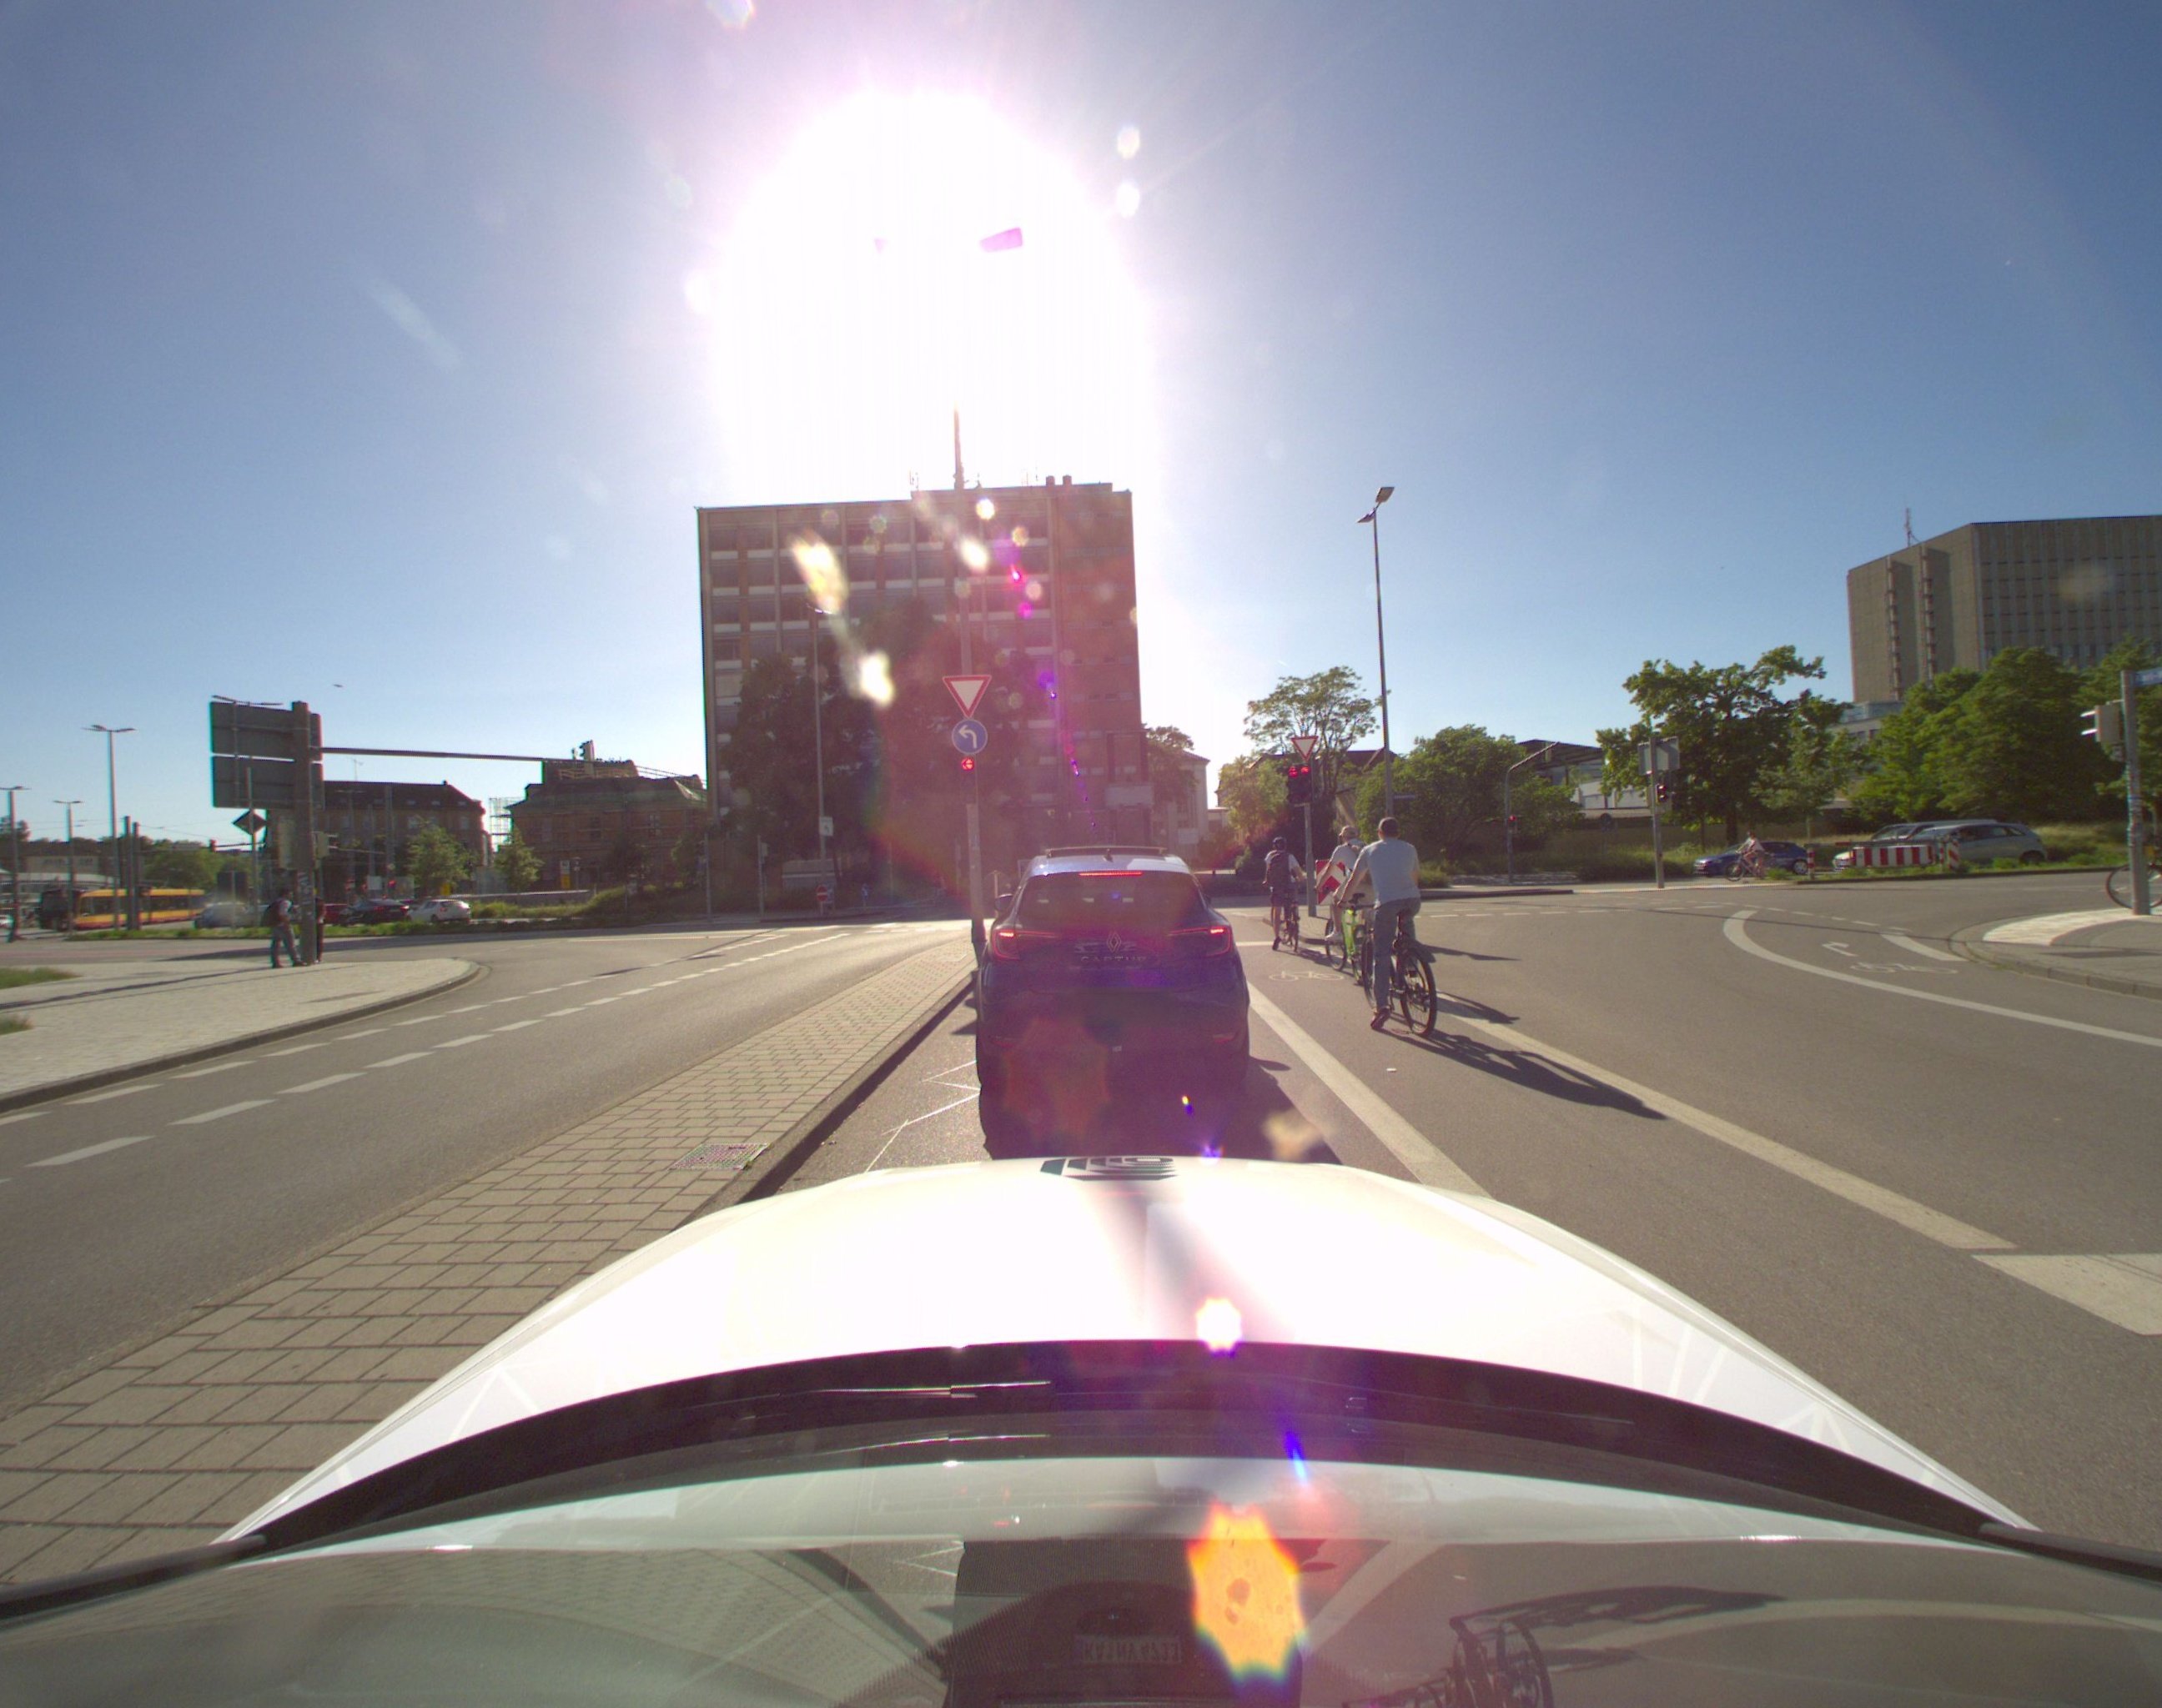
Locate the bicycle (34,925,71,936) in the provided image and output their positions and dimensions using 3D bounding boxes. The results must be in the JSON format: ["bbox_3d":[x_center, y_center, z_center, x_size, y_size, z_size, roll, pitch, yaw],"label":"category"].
[{"bbox_3d":[-65.921,4.912,52.216,0.429,0.549,1.419,-3,-1,42],"label":"bicycle"}]

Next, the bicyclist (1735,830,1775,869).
[{"bbox_3d":[24.037,-0.159,29.054,0.870,1.343,0.612,-2,-1,7],"label":"bicyclist"}]

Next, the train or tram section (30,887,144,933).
[{"bbox_3d":[-82.955,4.519,68.281,2.710,3.232,10.495,0,-1,-31],"label":"train or tram section"}]

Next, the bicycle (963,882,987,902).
[{"bbox_3d":[-5.726,2.046,44.172,0.751,0.985,2.098,-2,0,8],"label":"bicycle"}]

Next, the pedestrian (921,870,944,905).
[{"bbox_3d":[-8.131,1.811,44.630,0.807,1.862,0.913,-3,-1,15],"label":"pedestrian"}]

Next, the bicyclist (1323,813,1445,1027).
[{"bbox_3d":[2.720,0.558,7.428,0.680,1.791,1.142,-1,-1,2],"label":"bicyclist"}]

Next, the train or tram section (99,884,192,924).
[{"bbox_3d":[-88.433,4.632,77.226,2.710,3.232,10.495,0,-1,-31],"label":"train or tram section"}]

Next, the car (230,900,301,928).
[{"bbox_3d":[-48.863,3.608,48.804,3.834,1.508,1.805,-3,-1,25],"label":"car"}]

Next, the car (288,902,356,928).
[{"bbox_3d":[-48.206,3.874,51.708,3.834,1.508,1.805,-3,-1,25],"label":"car"}]

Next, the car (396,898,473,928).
[{"bbox_3d":[-36.394,3.339,45.835,3.834,1.508,1.805,-3,-1,25],"label":"car"}]

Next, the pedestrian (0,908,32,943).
[{"bbox_3d":[-64.241,4.312,49.074,0.716,2.013,1.048,-3,-1,23],"label":"pedestrian"}]

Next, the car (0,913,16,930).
[{"bbox_3d":[-111.953,6.991,84.023,1.753,1.651,3.952,-2,-1,-42],"label":"car"}]

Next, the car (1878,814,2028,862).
[{"bbox_3d":[35.872,-0.618,33.611,3.965,1.749,1.798,-3,-1,7],"label":"car"}]

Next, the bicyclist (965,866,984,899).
[{"bbox_3d":[-5.763,1.536,44.073,0.751,1.716,1.001,-2,-1,7],"label":"bicyclist"}]

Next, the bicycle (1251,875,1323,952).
[{"bbox_3d":[3.242,0.904,12.985,0.687,1.089,1.923,-1,0,2],"label":"bicycle"}]

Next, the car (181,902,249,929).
[{"bbox_3d":[-54.913,3.896,51.636,3.834,1.508,1.805,-3,-1,25],"label":"car"}]

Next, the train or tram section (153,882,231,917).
[{"bbox_3d":[-93.854,4.745,86.175,2.710,3.232,10.495,0,-1,-31],"label":"train or tram section"}]

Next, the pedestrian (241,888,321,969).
[{"bbox_3d":[-18.075,1.660,18.430,0.647,1.730,1.066,-3,-1,15],"label":"pedestrian"}]

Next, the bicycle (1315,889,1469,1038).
[{"bbox_3d":[2.727,0.900,7.376,0.687,1.089,1.923,-1,0,2],"label":"bicycle"}]

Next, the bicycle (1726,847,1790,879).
[{"bbox_3d":[24.118,0.323,29.041,1.673,1.033,0.612,-3,-1,7],"label":"bicycle"}]

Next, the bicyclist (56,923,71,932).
[{"bbox_3d":[-65.640,4.750,52.531,0.425,0.549,0.575,-3,-1,42],"label":"bicyclist"}]

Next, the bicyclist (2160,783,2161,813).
[{"bbox_3d":[16.029,-0.225,11.475,0.635,1.646,0.903,-2,-1,-39],"label":"bicyclist"}]

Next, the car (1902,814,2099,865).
[{"bbox_3d":[29.222,-0.433,26.004,3.965,1.398,1.798,-3,-1,7],"label":"car"}]

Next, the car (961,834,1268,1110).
[{"bbox_3d":[0.201,0.706,6.768,1.783,1.585,3.913,-1,0,0],"label":"car"}]

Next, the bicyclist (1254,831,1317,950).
[{"bbox_3d":[3.245,0.562,13.009,0.697,1.791,1.142,-1,-1,2],"label":"bicyclist"}]

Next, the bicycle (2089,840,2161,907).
[{"bbox_3d":[15.917,0.269,11.628,0.640,0.958,1.866,-2,-1,-39],"label":"bicycle"}]

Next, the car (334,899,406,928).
[{"bbox_3d":[-42.550,3.567,48.739,3.834,1.508,1.805,-3,-1,25],"label":"car"}]

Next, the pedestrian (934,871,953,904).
[{"bbox_3d":[-7.404,1.786,43.914,0.675,1.730,0.764,-3,-1,15],"label":"pedestrian"}]

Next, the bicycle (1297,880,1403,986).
[{"bbox_3d":[3.193,0.891,9.866,0.687,1.089,1.923,-1,0,2],"label":"bicycle"}]

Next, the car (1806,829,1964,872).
[{"bbox_3d":[30.298,-0.135,30.796,3.965,1.398,1.798,-3,-1,7],"label":"car"}]

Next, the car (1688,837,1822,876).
[{"bbox_3d":[28.136,0.106,34.110,3.965,1.398,1.798,-3,-1,7],"label":"car"}]

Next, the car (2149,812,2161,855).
[{"bbox_3d":[36.903,-0.762,25.334,4.534,1.398,1.798,-3,-1,7],"label":"car"}]

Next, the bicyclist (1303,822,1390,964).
[{"bbox_3d":[3.178,0.447,9.845,0.676,1.594,1.142,-1,-1,1],"label":"bicyclist"}]
